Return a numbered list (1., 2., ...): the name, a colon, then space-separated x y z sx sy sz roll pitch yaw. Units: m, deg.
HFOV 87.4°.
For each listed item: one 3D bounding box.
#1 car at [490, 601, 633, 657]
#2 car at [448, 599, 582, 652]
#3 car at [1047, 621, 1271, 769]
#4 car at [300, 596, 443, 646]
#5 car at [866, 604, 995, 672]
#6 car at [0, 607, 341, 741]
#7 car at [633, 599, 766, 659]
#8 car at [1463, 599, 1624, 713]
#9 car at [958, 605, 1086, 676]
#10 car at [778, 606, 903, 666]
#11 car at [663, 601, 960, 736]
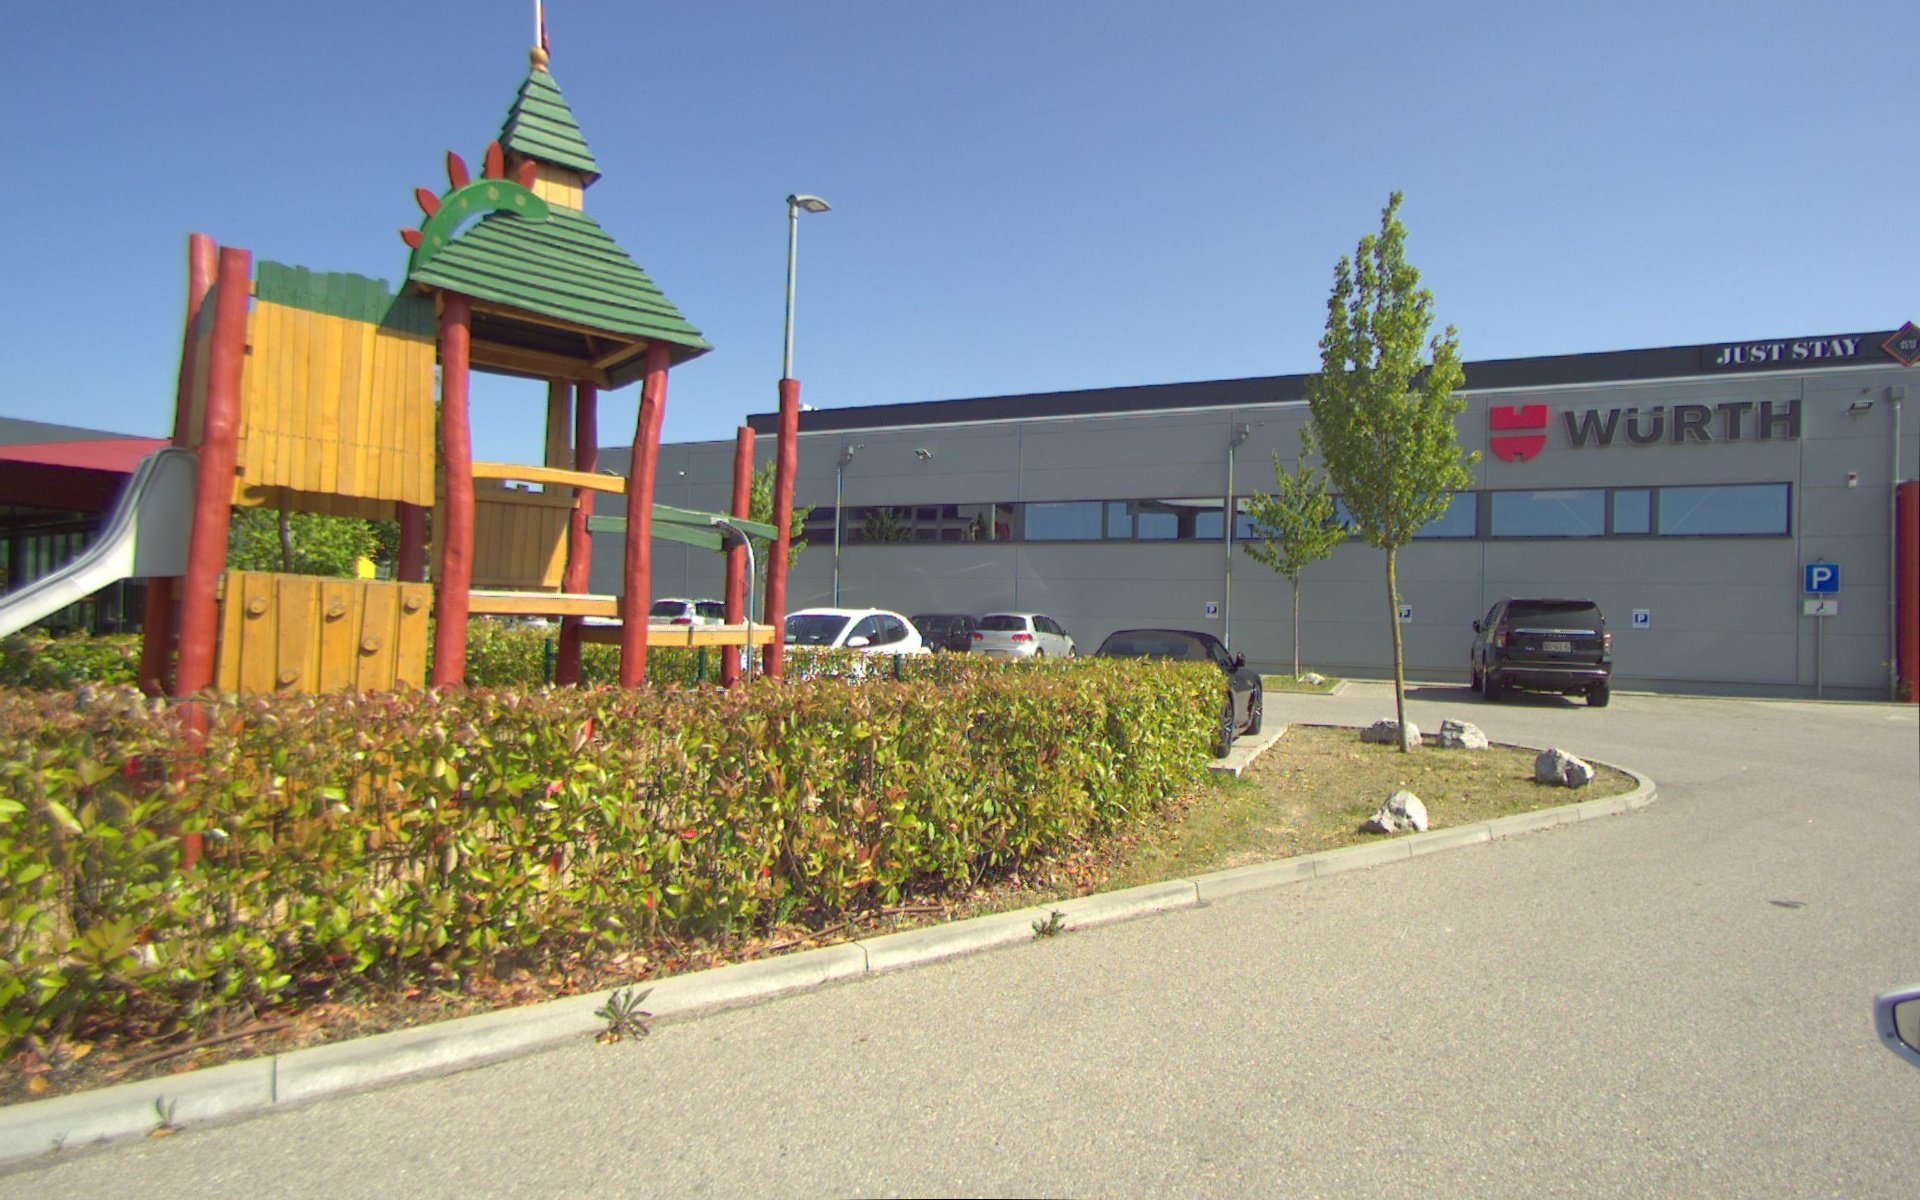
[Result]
1. car: -12.050 0.860 30.631 1.704 1.588 3.947 1 -1 26
2. car: -14.111 0.792 32.043 1.615 1.588 3.679 1 -1 27
3. car: 2.582 0.968 12.087 1.832 1.380 4.375 1 -1 22
4. car: -20.178 0.711 34.613 1.704 1.588 3.947 1 -1 26
5. car: -0.679 0.931 26.296 1.849 1.607 4.107 1 -1 22
6. car: -9.482 0.771 11.423 1.621 1.326 3.827 0 -1 36
7. car: -7.456 0.808 29.180 1.703 1.588 3.950 1 -1 22
8. car: 11.218 0.983 19.676 2.037 1.905 4.877 1 -1 22
9. car: 1.682 0.958 25.435 1.916 1.607 4.375 1 -1 22
10. car: -3.197 0.953 27.689 1.703 1.507 3.950 1 -1 22
11. car: -1.845 0.826 13.995 1.918 1.551 4.371 1 -1 27
